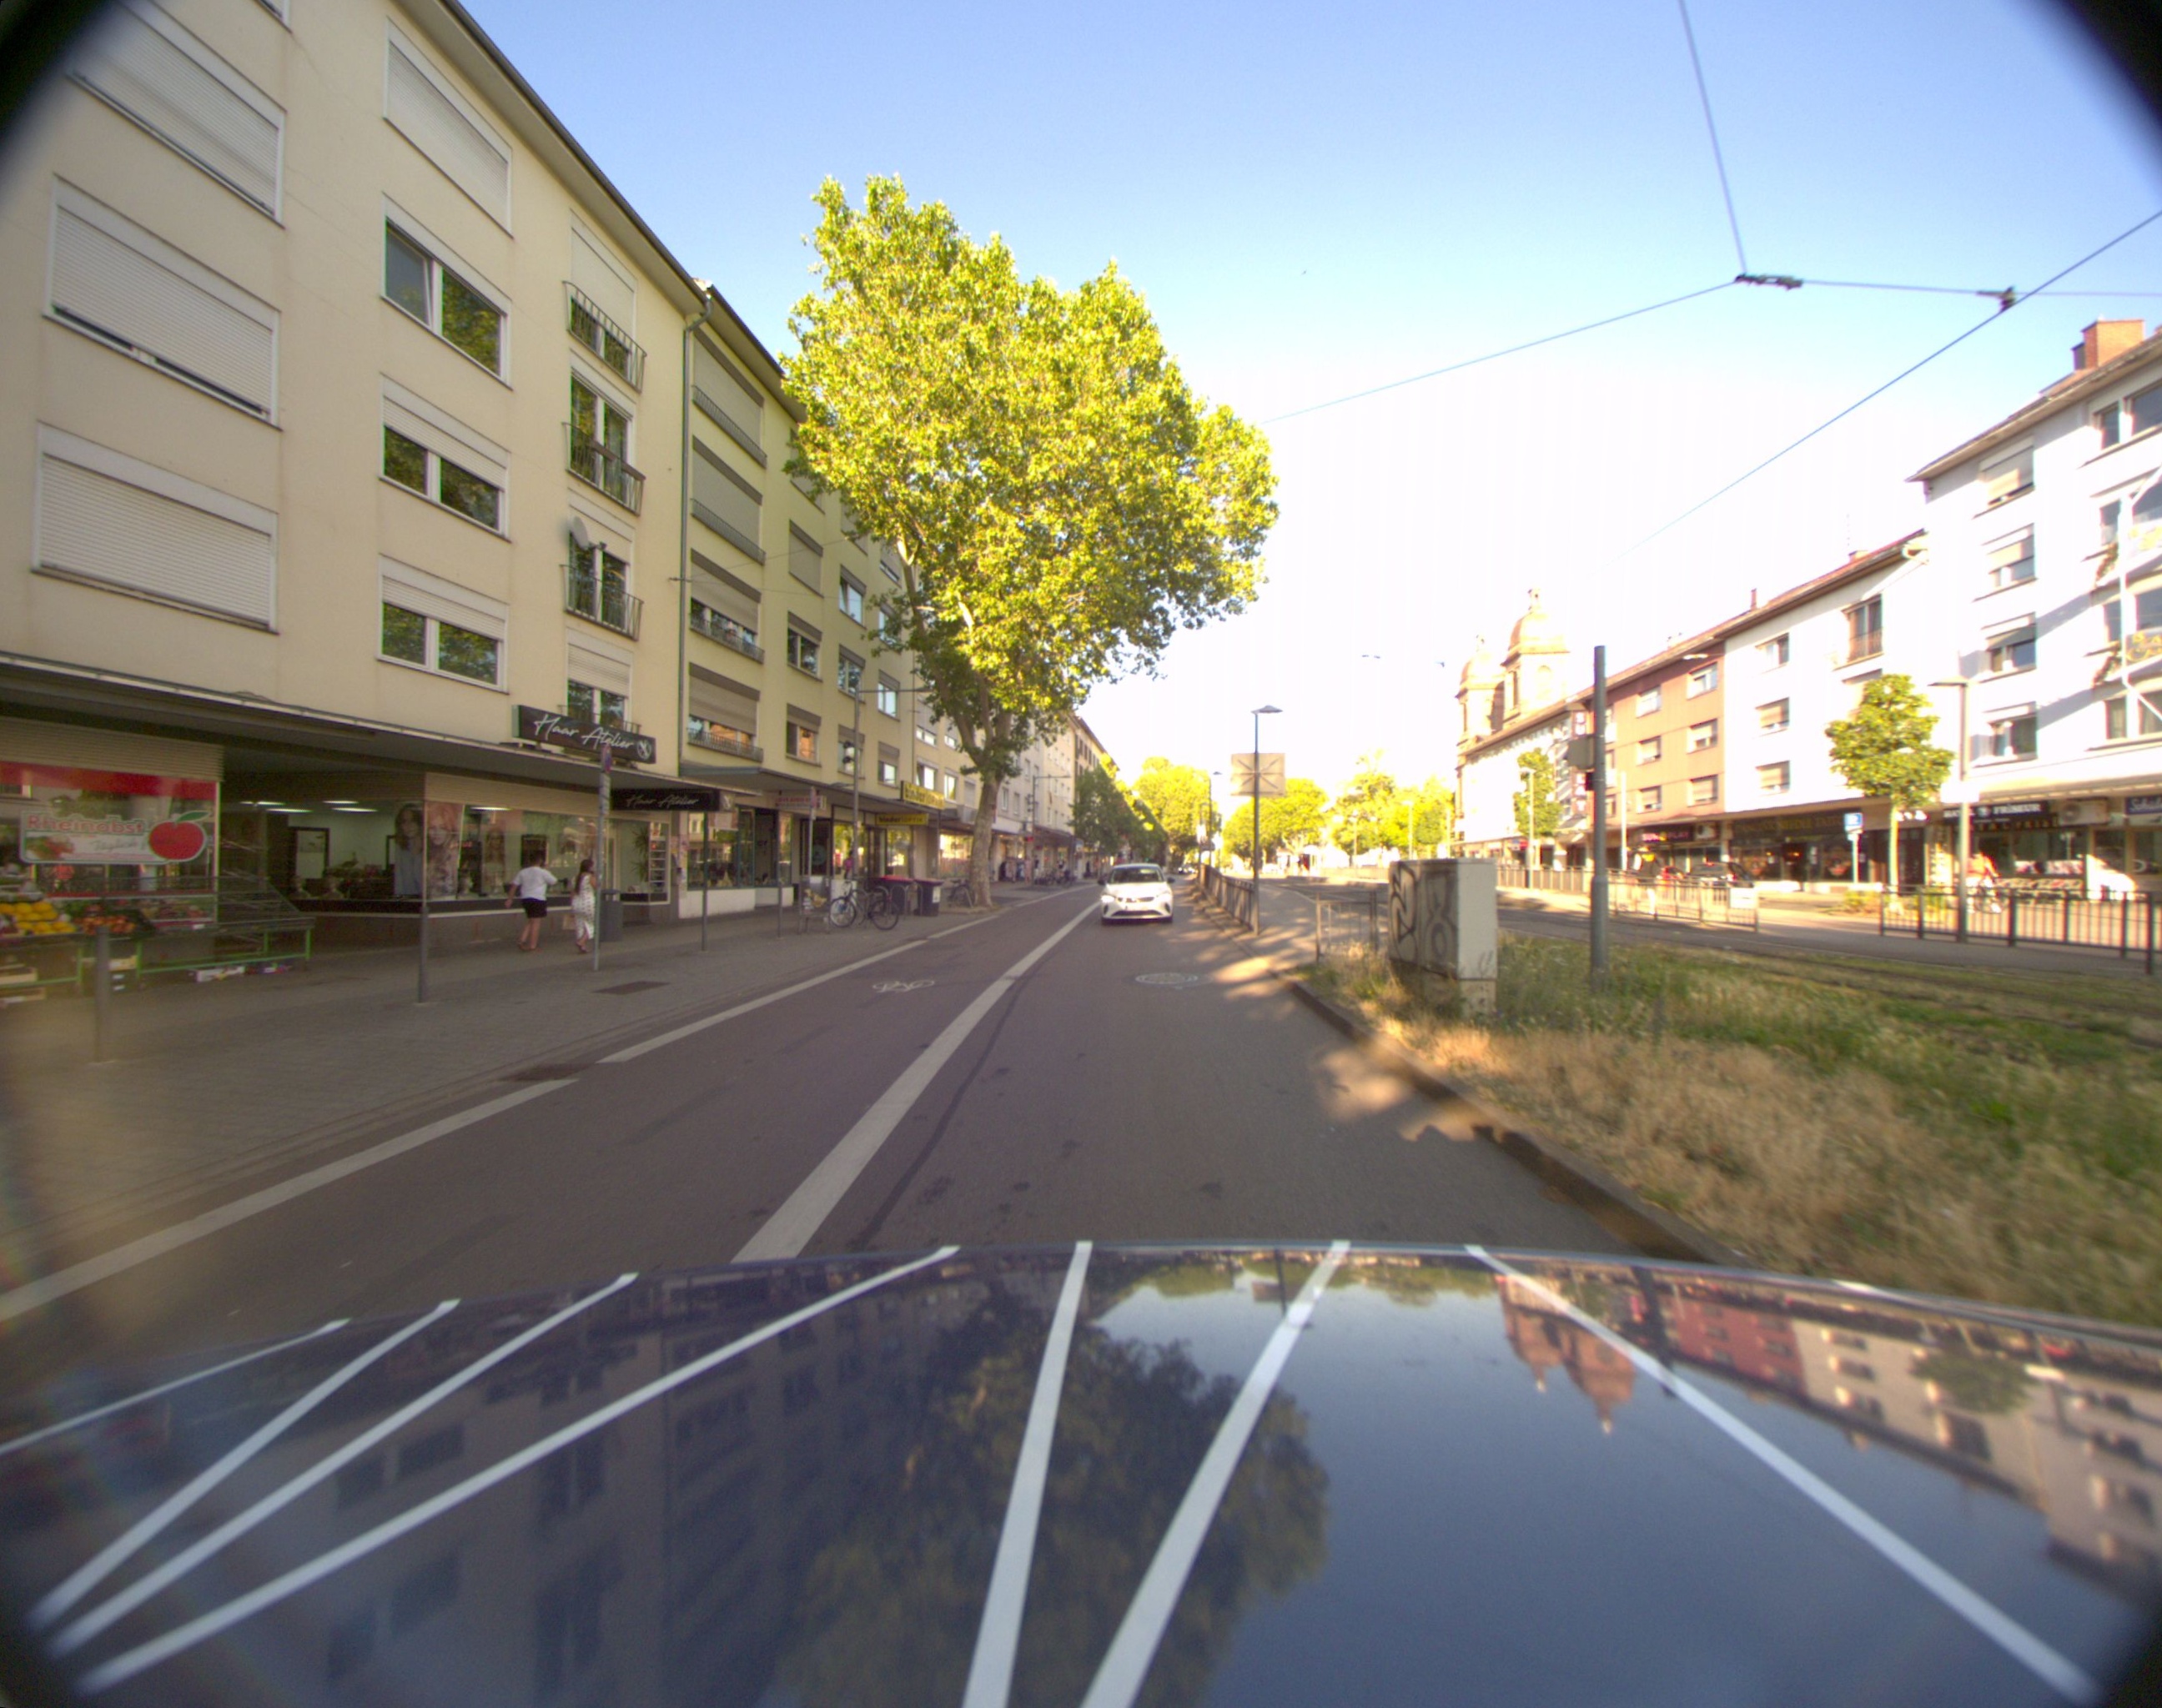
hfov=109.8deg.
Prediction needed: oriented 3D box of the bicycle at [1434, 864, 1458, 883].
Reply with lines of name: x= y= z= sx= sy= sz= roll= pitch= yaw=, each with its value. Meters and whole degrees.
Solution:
bicycle: x=24.044 y=1.265 z=50.080 sx=0.719 sy=1.223 sz=2.280 roll=0 pitch=0 yaw=7

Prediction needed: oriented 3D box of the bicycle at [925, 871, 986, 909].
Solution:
bicycle: x=-3.924 y=1.131 z=23.850 sx=1.721 sy=1.111 sz=0.745 roll=0 pitch=4 yaw=8

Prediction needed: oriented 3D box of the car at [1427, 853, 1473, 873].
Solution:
car: x=29.721 y=0.732 z=61.213 sx=4.007 sy=1.477 sz=1.739 roll=-2 pitch=0 yaw=-39

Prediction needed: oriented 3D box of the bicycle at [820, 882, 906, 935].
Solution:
bicycle: x=-5.076 y=1.244 z=17.698 sx=1.909 sy=1.098 sz=0.519 roll=2 pitch=1 yaw=14

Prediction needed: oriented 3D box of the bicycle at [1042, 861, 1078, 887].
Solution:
bicycle: x=-1.199 y=1.122 z=42.786 sx=1.788 sy=1.304 sz=0.695 roll=5 pitch=1 yaw=20

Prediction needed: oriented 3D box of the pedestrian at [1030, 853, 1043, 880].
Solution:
pedestrian: x=-2.845 y=0.796 z=48.619 sx=0.569 sy=1.665 sz=1.070 roll=2 pitch=0 yaw=9

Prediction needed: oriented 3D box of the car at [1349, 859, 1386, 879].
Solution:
car: x=25.272 y=1.271 z=67.181 sx=1.997 sy=1.706 sz=4.438 roll=0 pitch=0 yaw=7

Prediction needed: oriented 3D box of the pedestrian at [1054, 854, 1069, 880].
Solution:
pedestrian: x=-1.392 y=0.897 z=54.186 sx=0.774 sy=1.789 sz=0.931 roll=3 pitch=0 yaw=10

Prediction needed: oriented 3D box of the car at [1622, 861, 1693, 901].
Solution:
car: x=25.437 y=1.167 z=33.487 sx=3.777 sy=1.482 sz=1.859 roll=-3 pitch=0 yaw=-43

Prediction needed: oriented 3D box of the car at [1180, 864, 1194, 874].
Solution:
car: x=15.516 y=2.156 z=111.313 sx=1.717 sy=1.390 sz=4.001 roll=-2 pitch=0 yaw=4

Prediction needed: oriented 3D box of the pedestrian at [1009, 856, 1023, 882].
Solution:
pedestrian: x=-3.829 y=0.878 z=44.723 sx=0.541 sy=1.493 sz=0.896 roll=2 pitch=0 yaw=9

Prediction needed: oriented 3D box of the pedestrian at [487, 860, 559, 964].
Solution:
pedestrian: x=-8.846 y=0.891 z=12.056 sx=0.623 sy=1.577 sz=0.627 roll=2 pitch=1 yaw=7

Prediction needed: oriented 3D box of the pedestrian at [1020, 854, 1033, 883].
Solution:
pedestrian: x=-3.156 y=0.829 z=43.967 sx=0.547 sy=1.619 sz=0.896 roll=2 pitch=0 yaw=9

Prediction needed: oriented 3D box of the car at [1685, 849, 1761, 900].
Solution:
car: x=25.744 y=0.796 z=30.442 sx=3.777 sy=1.789 sz=1.859 roll=-3 pitch=0 yaw=-43

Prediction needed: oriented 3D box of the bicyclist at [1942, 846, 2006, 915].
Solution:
bicyclist: x=24.926 y=0.727 z=21.224 sx=0.693 sy=1.875 sz=1.059 roll=0 pitch=0 yaw=17

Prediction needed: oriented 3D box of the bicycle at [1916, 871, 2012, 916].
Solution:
bicycle: x=25.049 y=1.093 z=21.619 sx=0.706 sy=1.152 sz=2.201 roll=0 pitch=0 yaw=17

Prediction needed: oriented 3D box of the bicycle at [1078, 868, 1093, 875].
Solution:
bicycle: x=0.379 y=1.448 z=64.205 sx=0.840 sy=0.569 sz=1.759 roll=1 pitch=-1 yaw=-14

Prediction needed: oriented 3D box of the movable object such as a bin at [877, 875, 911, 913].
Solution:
movable object such as a bin: x=-5.508 y=1.179 z=22.413 sx=0.722 sy=1.066 sz=0.645 roll=2 pitch=1 yaw=27

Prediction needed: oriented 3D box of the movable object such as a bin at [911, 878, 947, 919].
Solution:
movable object such as a bin: x=-4.333 y=1.258 z=21.659 sx=0.723 sy=1.096 sz=0.645 roll=4 pitch=1 yaw=15

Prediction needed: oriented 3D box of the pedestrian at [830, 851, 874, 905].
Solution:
pedestrian: x=-7.668 y=0.793 z=25.486 sx=0.969 sy=1.753 sz=1.134 roll=1 pitch=1 yaw=9

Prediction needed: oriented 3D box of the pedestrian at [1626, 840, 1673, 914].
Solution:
pedestrian: x=14.283 y=0.569 z=19.090 sx=0.743 sy=1.838 sz=0.590 roll=0 pitch=0 yaw=3

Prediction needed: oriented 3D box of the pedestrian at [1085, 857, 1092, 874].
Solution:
pedestrian: x=0.694 y=1.066 z=68.951 sx=0.490 sy=1.558 sz=0.649 roll=2 pitch=0 yaw=10

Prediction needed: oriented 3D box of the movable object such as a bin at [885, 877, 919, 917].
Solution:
movable object such as a bin: x=-5.123 y=1.214 z=21.738 sx=0.723 sy=1.066 sz=0.644 roll=3 pitch=1 yaw=6

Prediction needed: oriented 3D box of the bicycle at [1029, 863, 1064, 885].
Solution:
bicycle: x=-1.987 y=1.125 z=43.778 sx=1.795 sy=1.118 sz=0.663 roll=4 pitch=1 yaw=-19

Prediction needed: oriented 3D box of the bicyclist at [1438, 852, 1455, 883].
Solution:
bicyclist: x=24.044 y=0.864 z=50.028 sx=0.765 sy=2.002 sz=0.912 roll=0 pitch=0 yaw=7

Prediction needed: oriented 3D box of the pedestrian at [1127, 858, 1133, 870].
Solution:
pedestrian: x=7.181 y=1.475 z=110.720 sx=0.693 sy=1.665 sz=0.659 roll=2 pitch=0 yaw=9

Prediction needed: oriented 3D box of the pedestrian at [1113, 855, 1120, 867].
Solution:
pedestrian: x=5.002 y=1.016 z=106.391 sx=0.851 sy=1.644 sz=0.916 roll=-2 pitch=0 yaw=8

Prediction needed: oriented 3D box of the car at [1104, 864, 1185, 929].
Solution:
car: x=1.571 y=0.991 z=19.216 sx=1.826 sy=1.433 sz=3.829 roll=-1 pitch=-1 yaw=4

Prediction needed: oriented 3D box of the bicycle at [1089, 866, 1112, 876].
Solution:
bicycle: x=1.632 y=1.442 z=63.998 sx=1.762 sy=0.773 sz=0.702 roll=1 pitch=-1 yaw=-14

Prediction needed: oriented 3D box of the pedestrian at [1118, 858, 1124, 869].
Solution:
pedestrian: x=5.974 y=1.451 z=113.229 sx=0.851 sy=1.644 sz=0.916 roll=-2 pitch=0 yaw=8

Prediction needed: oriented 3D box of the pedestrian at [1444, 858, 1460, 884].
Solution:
pedestrian: x=26.412 y=1.188 z=54.114 sx=0.767 sy=1.777 sz=0.725 roll=-2 pitch=0 yaw=10

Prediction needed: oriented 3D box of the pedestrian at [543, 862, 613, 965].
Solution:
pedestrian: x=-8.043 y=0.929 z=12.167 sx=0.636 sy=1.577 sz=0.627 roll=2 pitch=1 yaw=7
